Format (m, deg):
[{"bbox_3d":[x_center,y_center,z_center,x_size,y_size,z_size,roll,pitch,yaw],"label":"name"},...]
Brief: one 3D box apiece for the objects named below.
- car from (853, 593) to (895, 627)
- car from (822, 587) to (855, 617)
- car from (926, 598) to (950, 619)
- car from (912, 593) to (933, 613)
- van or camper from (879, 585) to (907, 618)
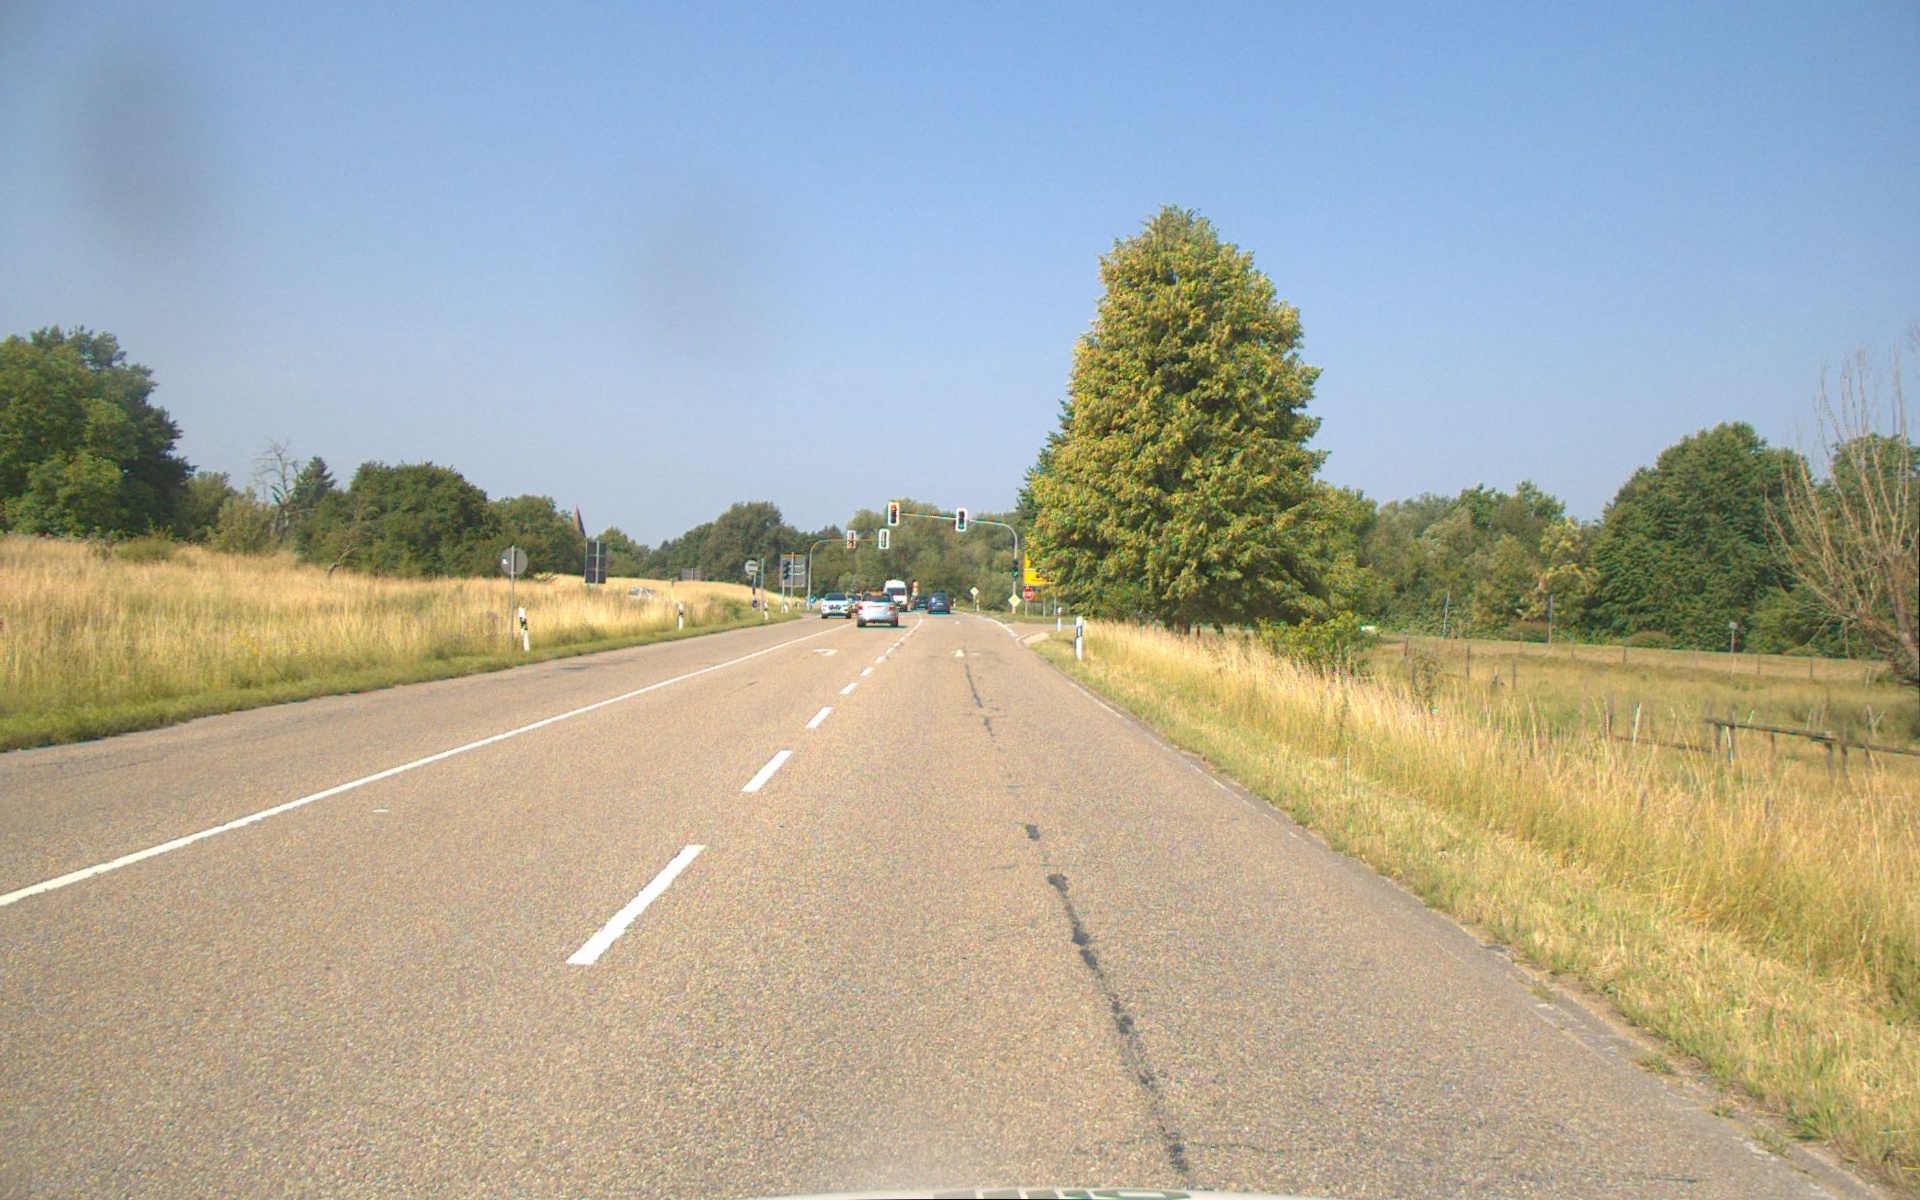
[{"bbox_3d":[-4.018,0.448,77.315,1.861,1.538,3.998,1,0,-3],"label":"car"},{"bbox_3d":[-7.781,0.141,106.267,1.559,1.757,4.001,4,0,2],"label":"car"},{"bbox_3d":[-1.791,0.665,132.882,1.779,1.547,3.999,4,0,-1],"label":"car"},{"bbox_3d":[-3.656,0.279,161.635,1.953,1.847,3.999,4,0,-1],"label":"car"},{"bbox_3d":[-5.866,0.123,145.204,2.218,2.757,5.262,1,0,0],"label":"van or camper"}]
